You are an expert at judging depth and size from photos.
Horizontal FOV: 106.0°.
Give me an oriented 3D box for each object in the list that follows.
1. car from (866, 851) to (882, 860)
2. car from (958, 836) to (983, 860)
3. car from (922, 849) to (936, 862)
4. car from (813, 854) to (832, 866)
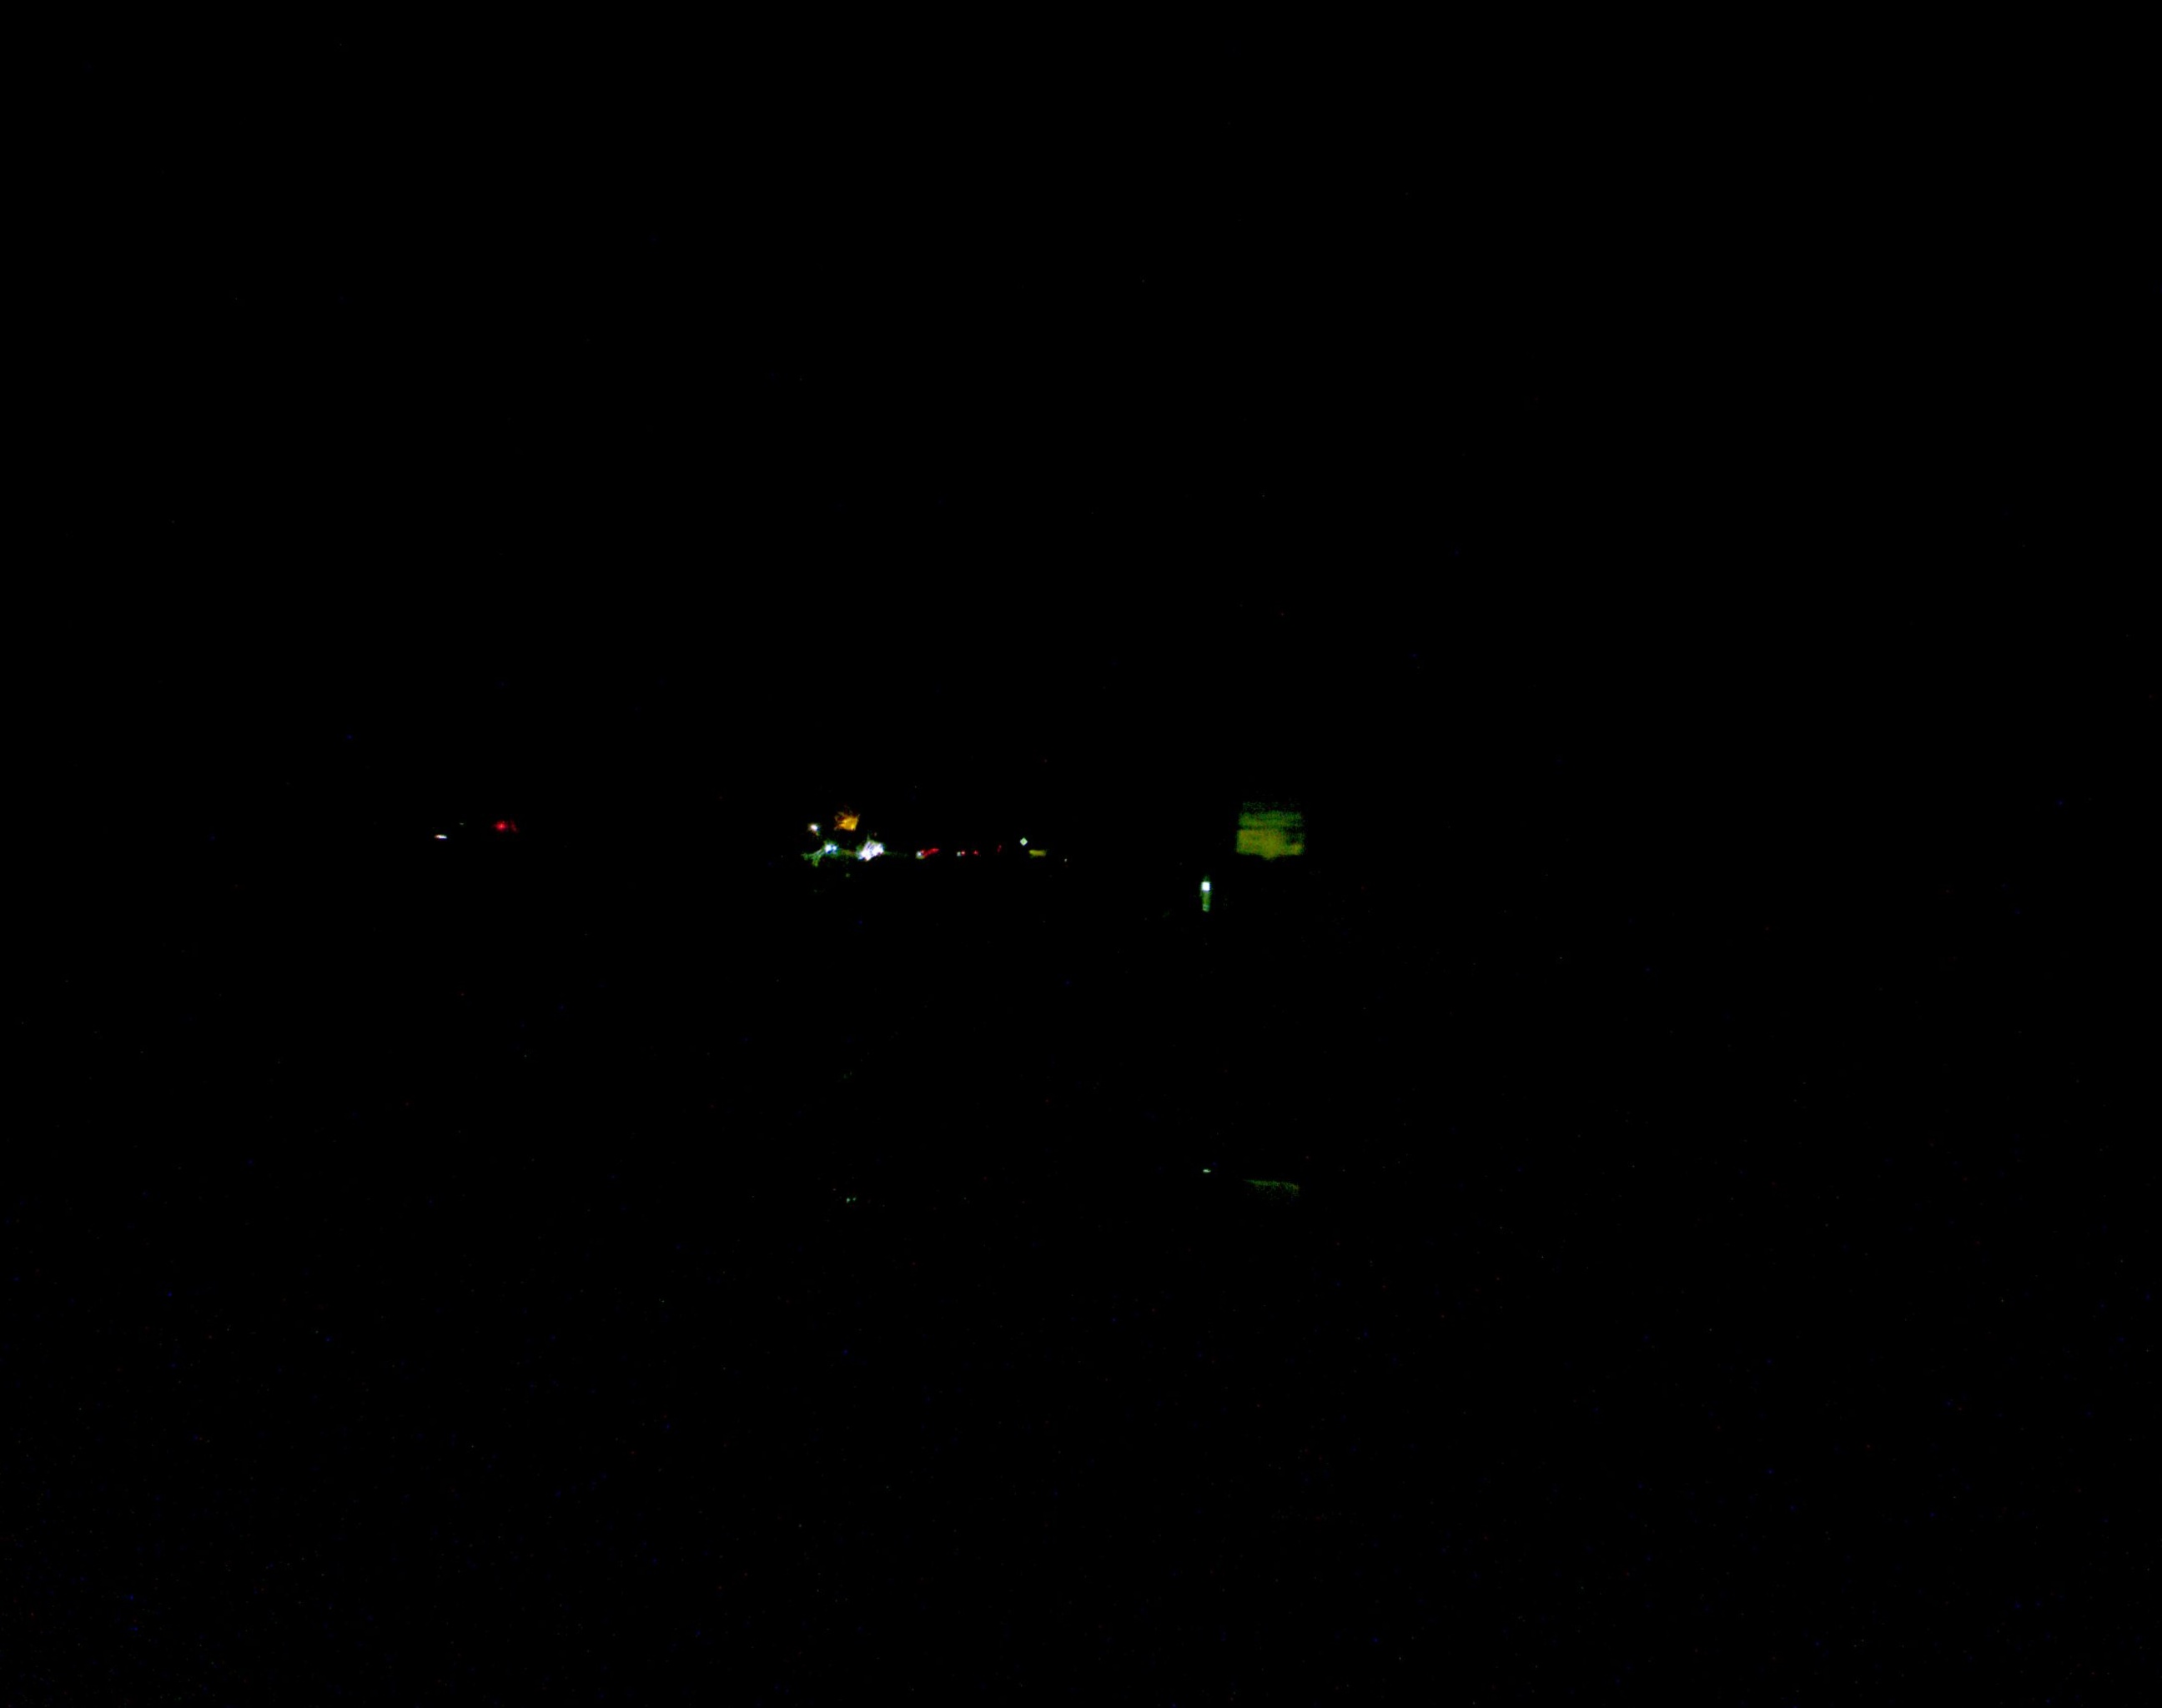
[{"bbox_3d":[-34.526,0.300,135.804,1.964,1.522,4.365,0,-1,-23],"label":"car"},{"bbox_3d":[-13.498,-0.764,99.186,2.540,2.497,5.693,0,3,-12],"label":"car"},{"bbox_3d":[-23.012,0.225,123.299,1.994,2.014,3.986,0,-1,-10],"label":"car"},{"bbox_3d":[-35.733,0.761,112.573,1.687,1.398,4.141,-3,2,-7],"label":"car"}]
